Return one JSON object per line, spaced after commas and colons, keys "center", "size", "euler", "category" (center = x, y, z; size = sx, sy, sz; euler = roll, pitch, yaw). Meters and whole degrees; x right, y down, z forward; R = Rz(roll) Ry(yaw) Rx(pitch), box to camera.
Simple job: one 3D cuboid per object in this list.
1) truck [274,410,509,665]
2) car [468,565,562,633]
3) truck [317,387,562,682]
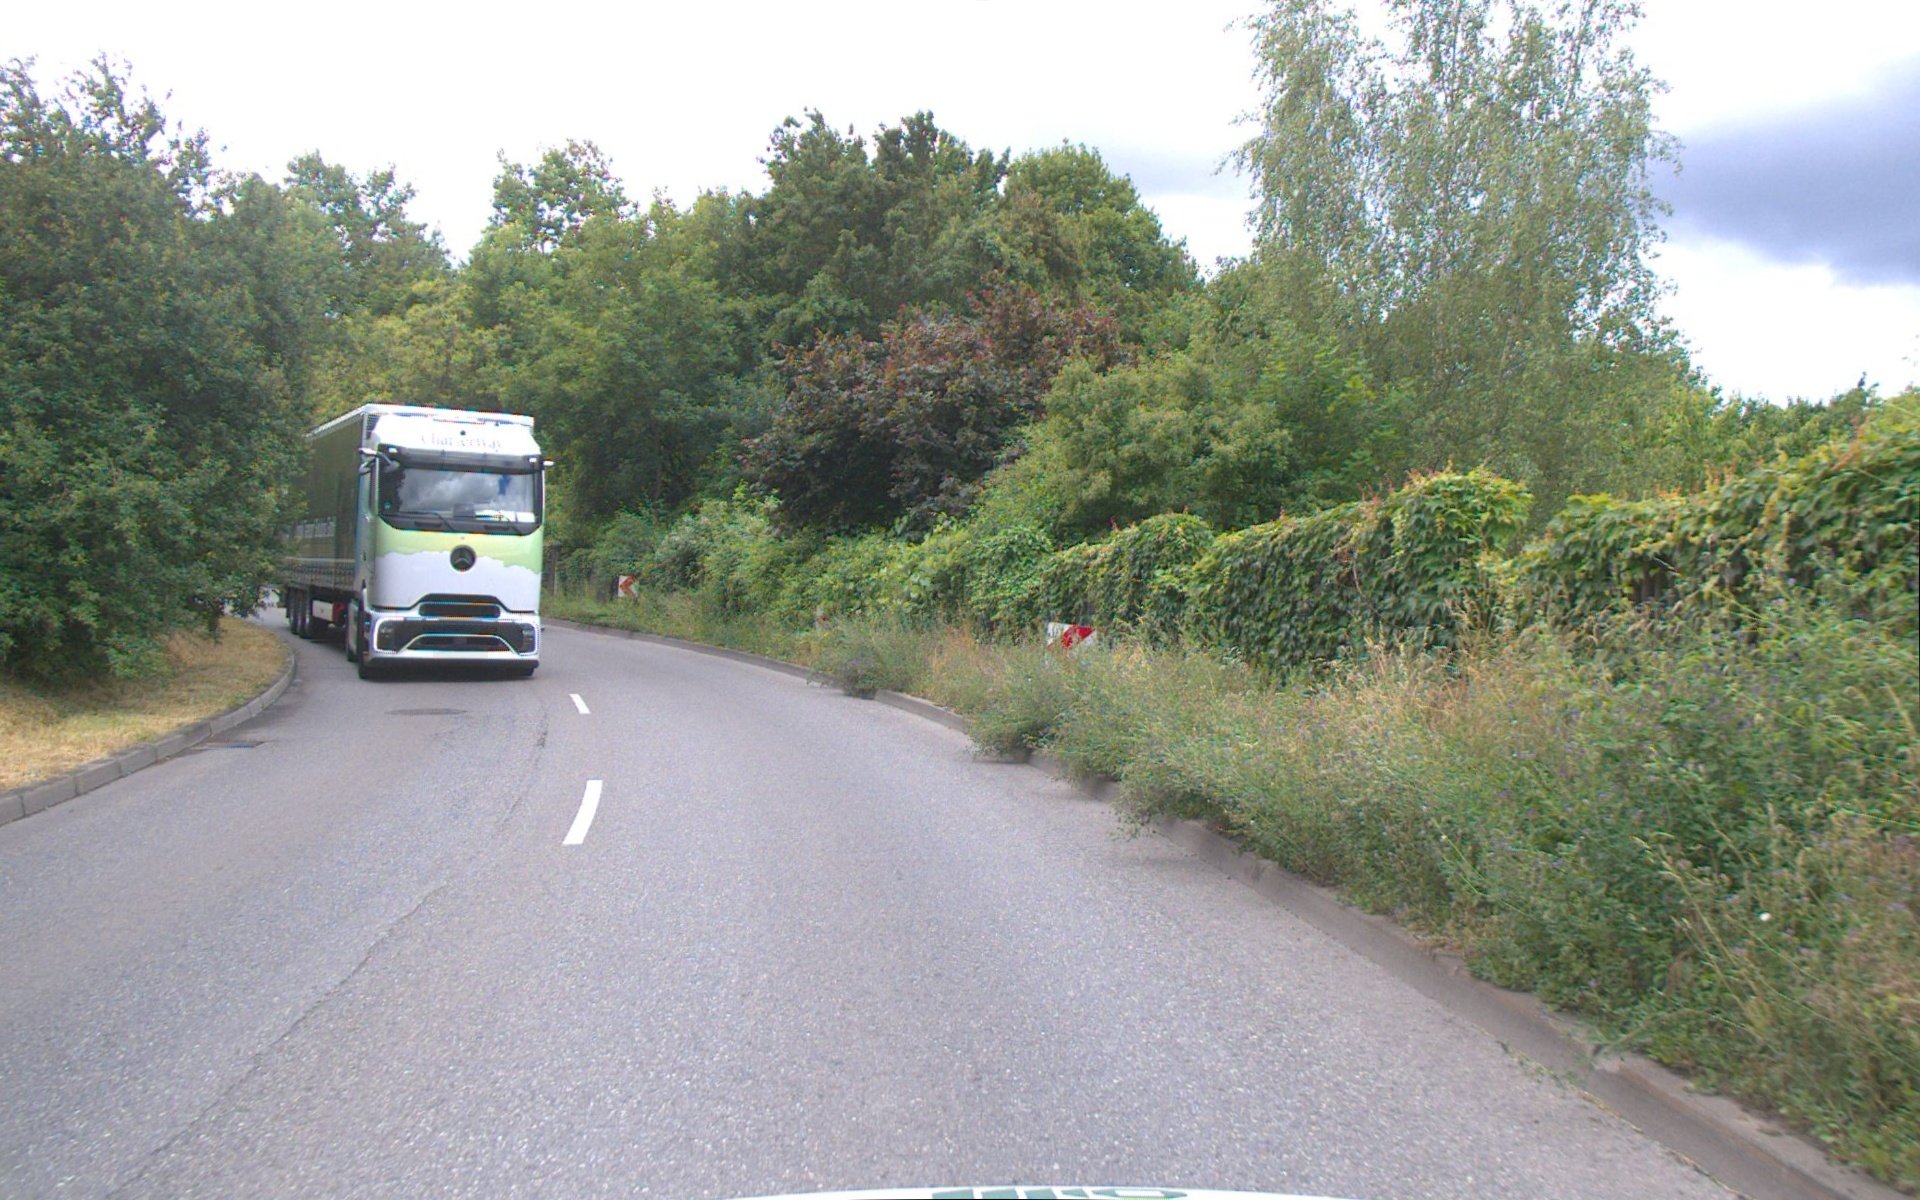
{"center": [-11.708, -1.144, 32.910], "size": [2.672, 4.019, 13.717], "euler": [0, 1, -26], "category": "truck"}
{"center": [-10.688, 0.005, 39.573], "size": [1.813, 1.509, 3.976], "euler": [-2, 0, -20], "category": "car"}
{"center": [-8.325, -0.962, 25.949], "size": [2.672, 4.019, 6.275], "euler": [0, 1, -27], "category": "truck"}
